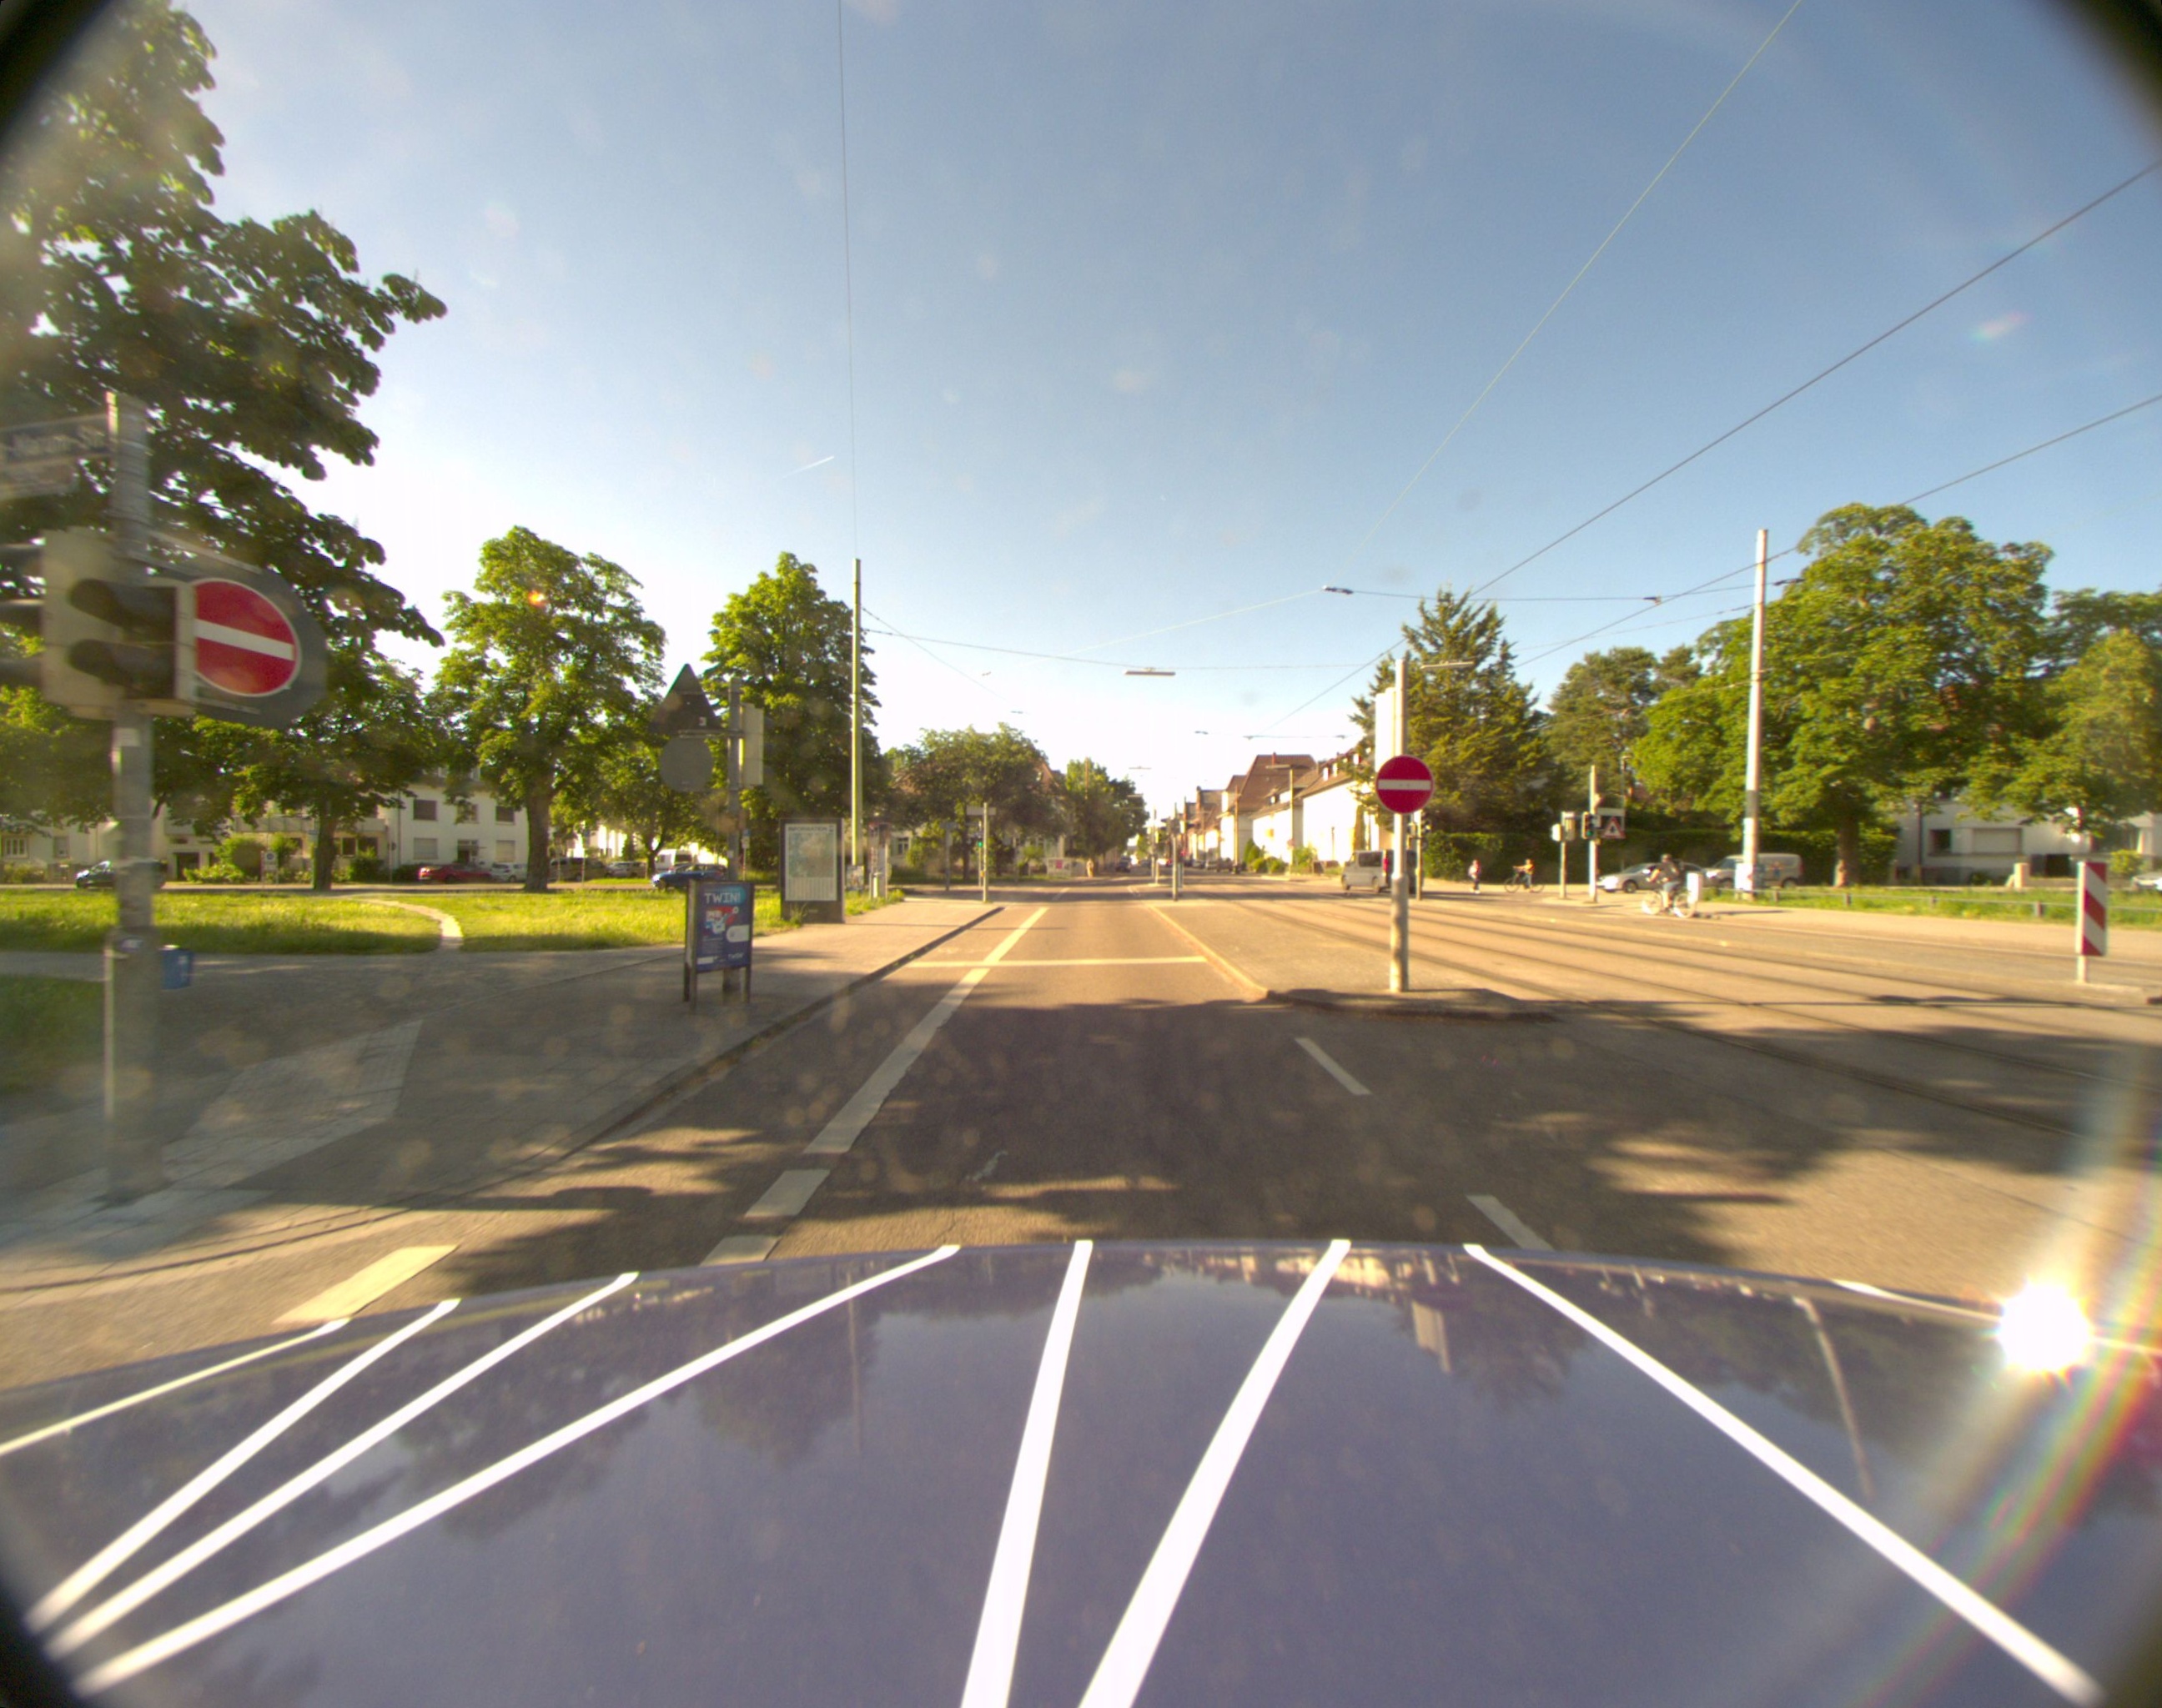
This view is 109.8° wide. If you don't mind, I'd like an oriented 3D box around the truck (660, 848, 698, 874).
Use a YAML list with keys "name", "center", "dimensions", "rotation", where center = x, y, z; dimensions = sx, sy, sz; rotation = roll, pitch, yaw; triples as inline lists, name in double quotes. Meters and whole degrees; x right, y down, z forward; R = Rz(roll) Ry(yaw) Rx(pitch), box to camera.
- name: "truck"
  center: [-40.760, 0.702, 76.911]
  dimensions: [4.966, 2.561, 2.004]
  rotation: [0, 0, 45]

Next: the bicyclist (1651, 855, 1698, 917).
- name: "bicyclist"
  center: [16.505, 0.877, 21.140]
  dimensions: [0.588, 1.700, 0.901]
  rotation: [1, 0, 1]

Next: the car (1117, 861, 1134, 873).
- name: "car"
  center: [5.613, 1.636, 96.441]
  dimensions: [1.704, 1.541, 4.003]
  rotation: [-2, -1, 9]

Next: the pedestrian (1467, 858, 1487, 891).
- name: "pedestrian"
  center: [19.121, 0.981, 36.690]
  dimensions: [0.680, 1.547, 0.622]
  rotation: [-2, 0, -45]

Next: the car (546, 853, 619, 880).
- name: "car"
  center: [-35.294, 0.853, 53.966]
  dimensions: [1.920, 1.825, 4.345]
  rotation: [0, 0, 8]

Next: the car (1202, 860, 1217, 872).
- name: "car"
  center: [20.185, 1.844, 119.148]
  dimensions: [1.923, 1.704, 4.002]
  rotation: [-2, -1, 4]

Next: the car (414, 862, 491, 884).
- name: "car"
  center: [-42.248, 1.245, 51.203]
  dimensions: [1.757, 1.462, 3.899]
  rotation: [0, 0, 6]

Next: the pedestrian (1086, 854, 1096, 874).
- name: "pedestrian"
  center: [0.846, 0.848, 63.463]
  dimensions: [0.654, 1.664, 0.944]
  rotation: [1, 0, 6]

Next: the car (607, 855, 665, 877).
- name: "car"
  center: [-34.658, 0.908, 59.291]
  dimensions: [1.920, 1.638, 3.717]
  rotation: [0, 0, 13]

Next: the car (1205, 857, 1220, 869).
- name: "car"
  center: [19.535, 1.389, 112.987]
  dimensions: [1.923, 1.704, 4.002]
  rotation: [-2, -1, 5]

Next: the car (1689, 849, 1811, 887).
- name: "car"
  center: [33.497, 0.730, 38.141]
  dimensions: [4.310, 1.855, 1.818]
  rotation: [0, -1, 6]

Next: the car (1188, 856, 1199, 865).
- name: "car"
  center: [22.062, 1.334, 148.798]
  dimensions: [1.923, 1.704, 4.002]
  rotation: [-2, -1, 5]

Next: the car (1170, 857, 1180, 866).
- name: "car"
  center: [18.434, 1.476, 148.485]
  dimensions: [1.923, 1.704, 4.003]
  rotation: [-2, -1, 8]

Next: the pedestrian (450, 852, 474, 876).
- name: "pedestrian"
  center: [-45.828, 0.745, 56.250]
  dimensions: [1.024, 1.758, 0.900]
  rotation: [-2, 0, 8]

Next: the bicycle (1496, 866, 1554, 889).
- name: "bicycle"
  center: [21.781, 1.156, 37.287]
  dimensions: [2.283, 1.111, 0.931]
  rotation: [0, 0, 12]

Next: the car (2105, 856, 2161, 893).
- name: "car"
  center: [52.162, 0.958, 36.104]
  dimensions: [4.196, 1.732, 1.817]
  rotation: [0, 0, 6]

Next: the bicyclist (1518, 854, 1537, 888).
- name: "bicyclist"
  center: [21.889, 0.826, 37.255]
  dimensions: [0.559, 1.613, 0.899]
  rotation: [0, 0, 12]

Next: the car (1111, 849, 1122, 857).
- name: "car"
  center: [6.525, -0.180, 139.389]
  dimensions: [1.704, 1.541, 4.003]
  rotation: [-2, -1, 9]

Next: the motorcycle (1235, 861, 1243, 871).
- name: "motorcycle"
  center: [17.343, 1.285, 83.446]
  dimensions: [0.605, 1.040, 2.438]
  rotation: [-2, -1, 6]

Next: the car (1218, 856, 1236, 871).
- name: "car"
  center: [18.814, 1.224, 98.307]
  dimensions: [1.923, 1.889, 4.002]
  rotation: [-2, -1, 6]

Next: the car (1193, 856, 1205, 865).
- name: "car"
  center: [20.856, 1.198, 134.089]
  dimensions: [1.923, 1.555, 4.003]
  rotation: [-2, -1, 8]

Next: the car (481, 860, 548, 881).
- name: "car"
  center: [-41.942, 1.182, 56.366]
  dimensions: [1.757, 1.462, 3.899]
  rotation: [0, 0, 6]

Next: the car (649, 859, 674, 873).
- name: "car"
  center: [-44.220, 1.249, 80.090]
  dimensions: [1.763, 1.462, 3.886]
  rotation: [0, 0, -36]

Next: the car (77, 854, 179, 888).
- name: "car"
  center: [-56.193, 0.998, 44.852]
  dimensions: [3.995, 1.815, 1.817]
  rotation: [-2, 2, 6]

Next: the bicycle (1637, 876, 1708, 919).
- name: "bicycle"
  center: [16.489, 1.186, 21.237]
  dimensions: [0.588, 1.107, 1.827]
  rotation: [1, 0, 1]

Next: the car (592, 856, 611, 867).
- name: "car"
  center: [-67.624, 1.077, 107.174]
  dimensions: [1.763, 1.462, 3.885]
  rotation: [0, 0, -40]

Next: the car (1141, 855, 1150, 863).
- name: "car"
  center: [14.626, 1.083, 172.175]
  dimensions: [1.923, 1.704, 4.002]
  rotation: [-2, -1, 6]

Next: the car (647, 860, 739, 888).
- name: "car"
  center: [-20.811, 1.059, 40.819]
  dimensions: [3.996, 1.425, 1.817]
  rotation: [0, 0, 2]

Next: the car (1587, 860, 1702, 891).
- name: "car"
  center: [26.750, 0.999, 36.198]
  dimensions: [3.994, 1.425, 1.818]
  rotation: [0, 0, 10]

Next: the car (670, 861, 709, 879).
- name: "car"
  center: [-33.979, 1.399, 66.053]
  dimensions: [1.607, 1.525, 4.280]
  rotation: [0, -2, -7]

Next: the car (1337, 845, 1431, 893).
- name: "car"
  center: [13.843, 0.695, 35.117]
  dimensions: [2.025, 2.001, 5.250]
  rotation: [1, -1, -3]
